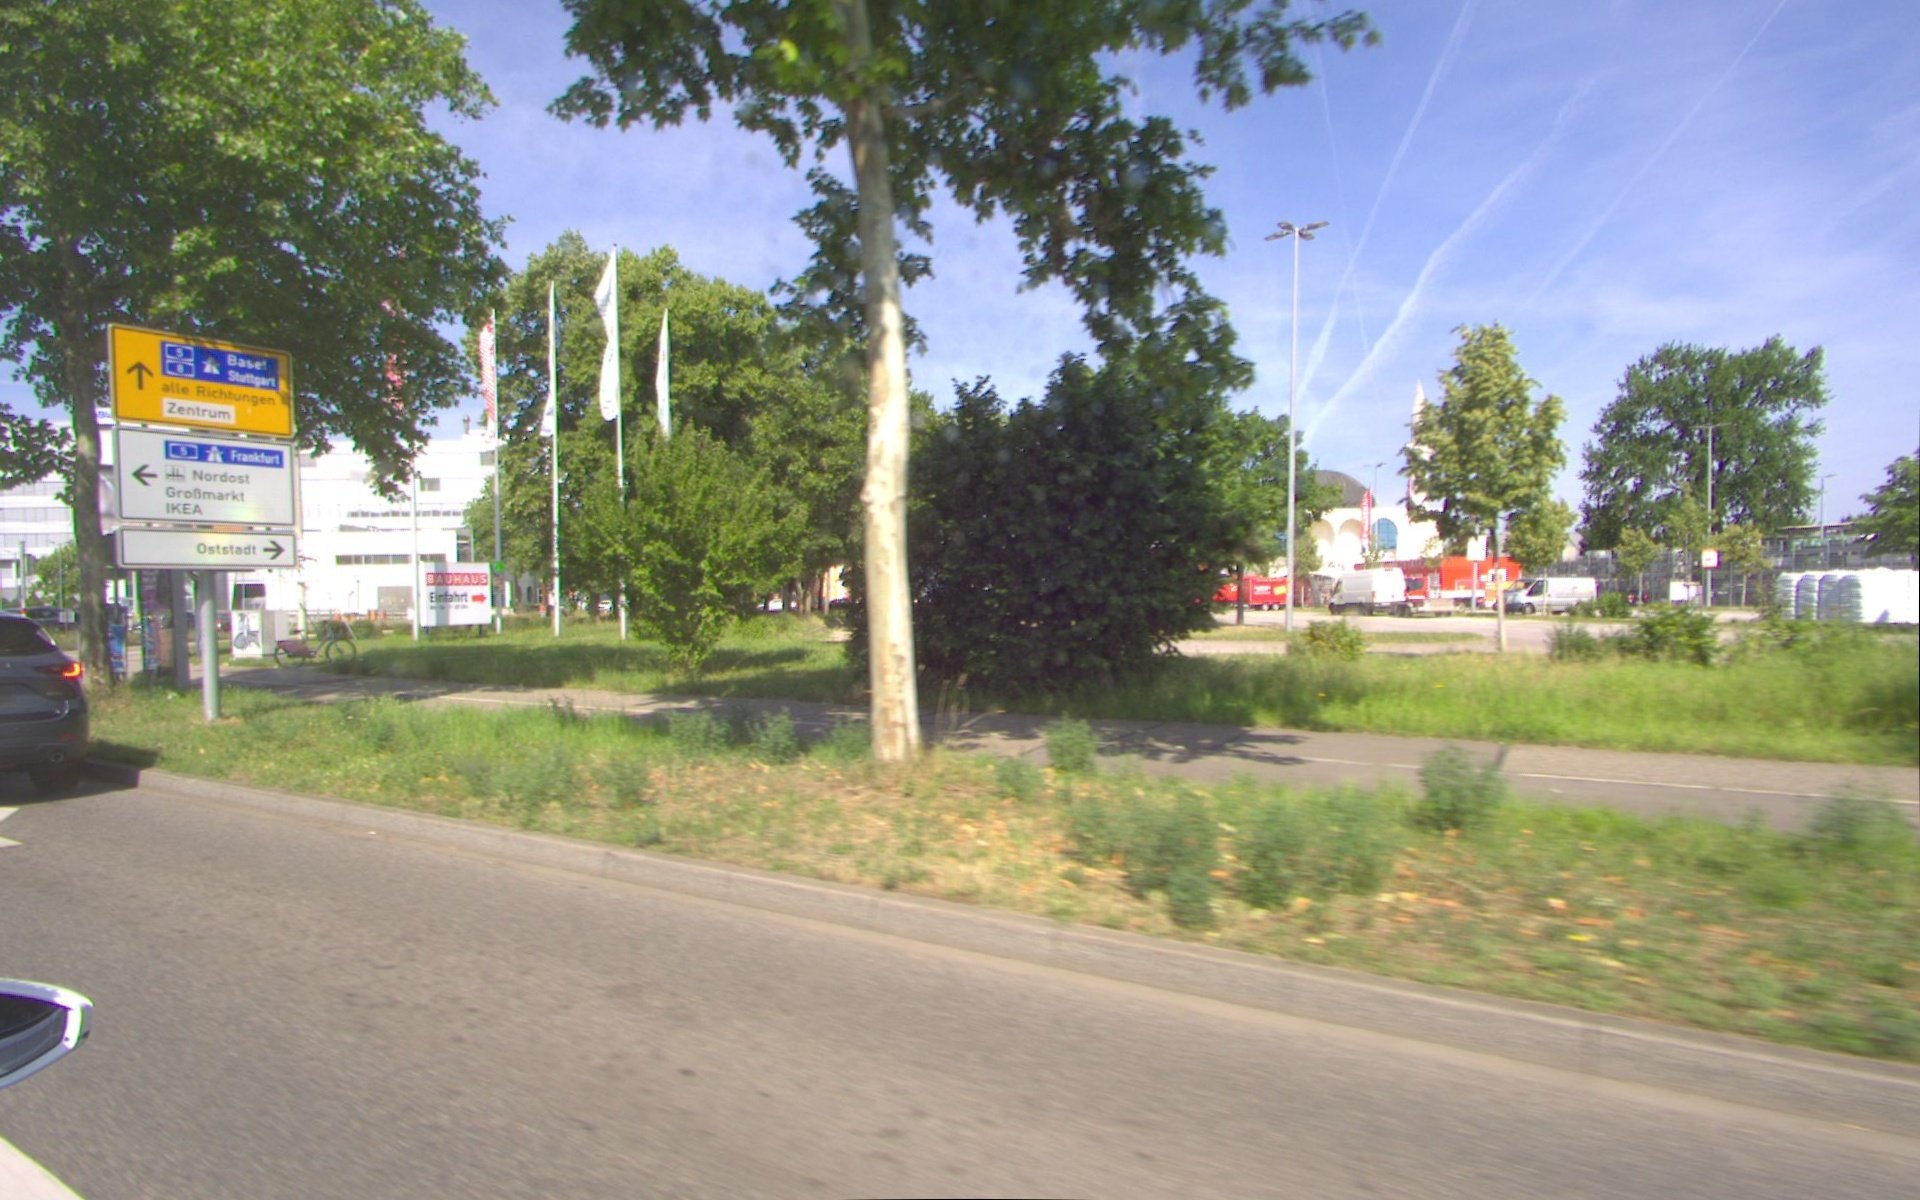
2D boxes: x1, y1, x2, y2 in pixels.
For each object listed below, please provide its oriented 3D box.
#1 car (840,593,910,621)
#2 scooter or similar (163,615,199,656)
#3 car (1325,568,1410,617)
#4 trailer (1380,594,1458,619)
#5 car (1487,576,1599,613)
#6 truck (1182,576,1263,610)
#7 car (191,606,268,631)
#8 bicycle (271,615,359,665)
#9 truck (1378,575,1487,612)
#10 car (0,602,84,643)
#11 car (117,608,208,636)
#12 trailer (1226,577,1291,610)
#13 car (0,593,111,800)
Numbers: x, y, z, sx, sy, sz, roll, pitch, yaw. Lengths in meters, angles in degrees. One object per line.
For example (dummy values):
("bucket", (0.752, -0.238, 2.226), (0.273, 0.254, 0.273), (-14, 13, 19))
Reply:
("car", (-5.068, 0.399, 60.058), (3.972, 1.608, 1.730), (-1, 1, 4))
("scooter or similar", (-22.178, 1.004, 28.508), (1.107, 1.141, 0.423), (0, 1, 32))
("car", (23.207, -0.404, 57.261), (1.980, 2.576, 5.686), (-3, 0, -6))
("trailer", (23.631, 0.323, 51.674), (2.029, 1.137, 4.030), (-3, 0, -2))
("car", (29.902, -0.278, 51.408), (4.737, 1.841, 1.873), (0, 2, -6))
("truck", (21.001, -0.582, 80.223), (5.914, 2.644, 2.018), (0, 1, -6))
("car", (-46.315, 1.135, 63.616), (1.747, 1.463, 4.625), (-1, 0, -4))
("bicycle", (-16.082, 0.978, 24.999), (1.771, 1.123, 0.499), (-3, 2, -40))
("truck", (29.310, -0.379, 62.230), (5.751, 2.168, 2.066), (-1, 1, -1))
("car", (-42.443, 0.988, 45.226), (1.879, 1.711, 4.625), (-1, 0, -4))
("car", (-46.053, 1.226, 57.975), (1.747, 1.463, 4.625), (-1, 0, -4))
("trailer", (22.182, -0.465, 74.489), (4.325, 2.409, 1.751), (0, 2, 0))
("car", (-9.774, 0.812, 9.175), (4.431, 1.680, 1.763), (-1, -1, 32))
